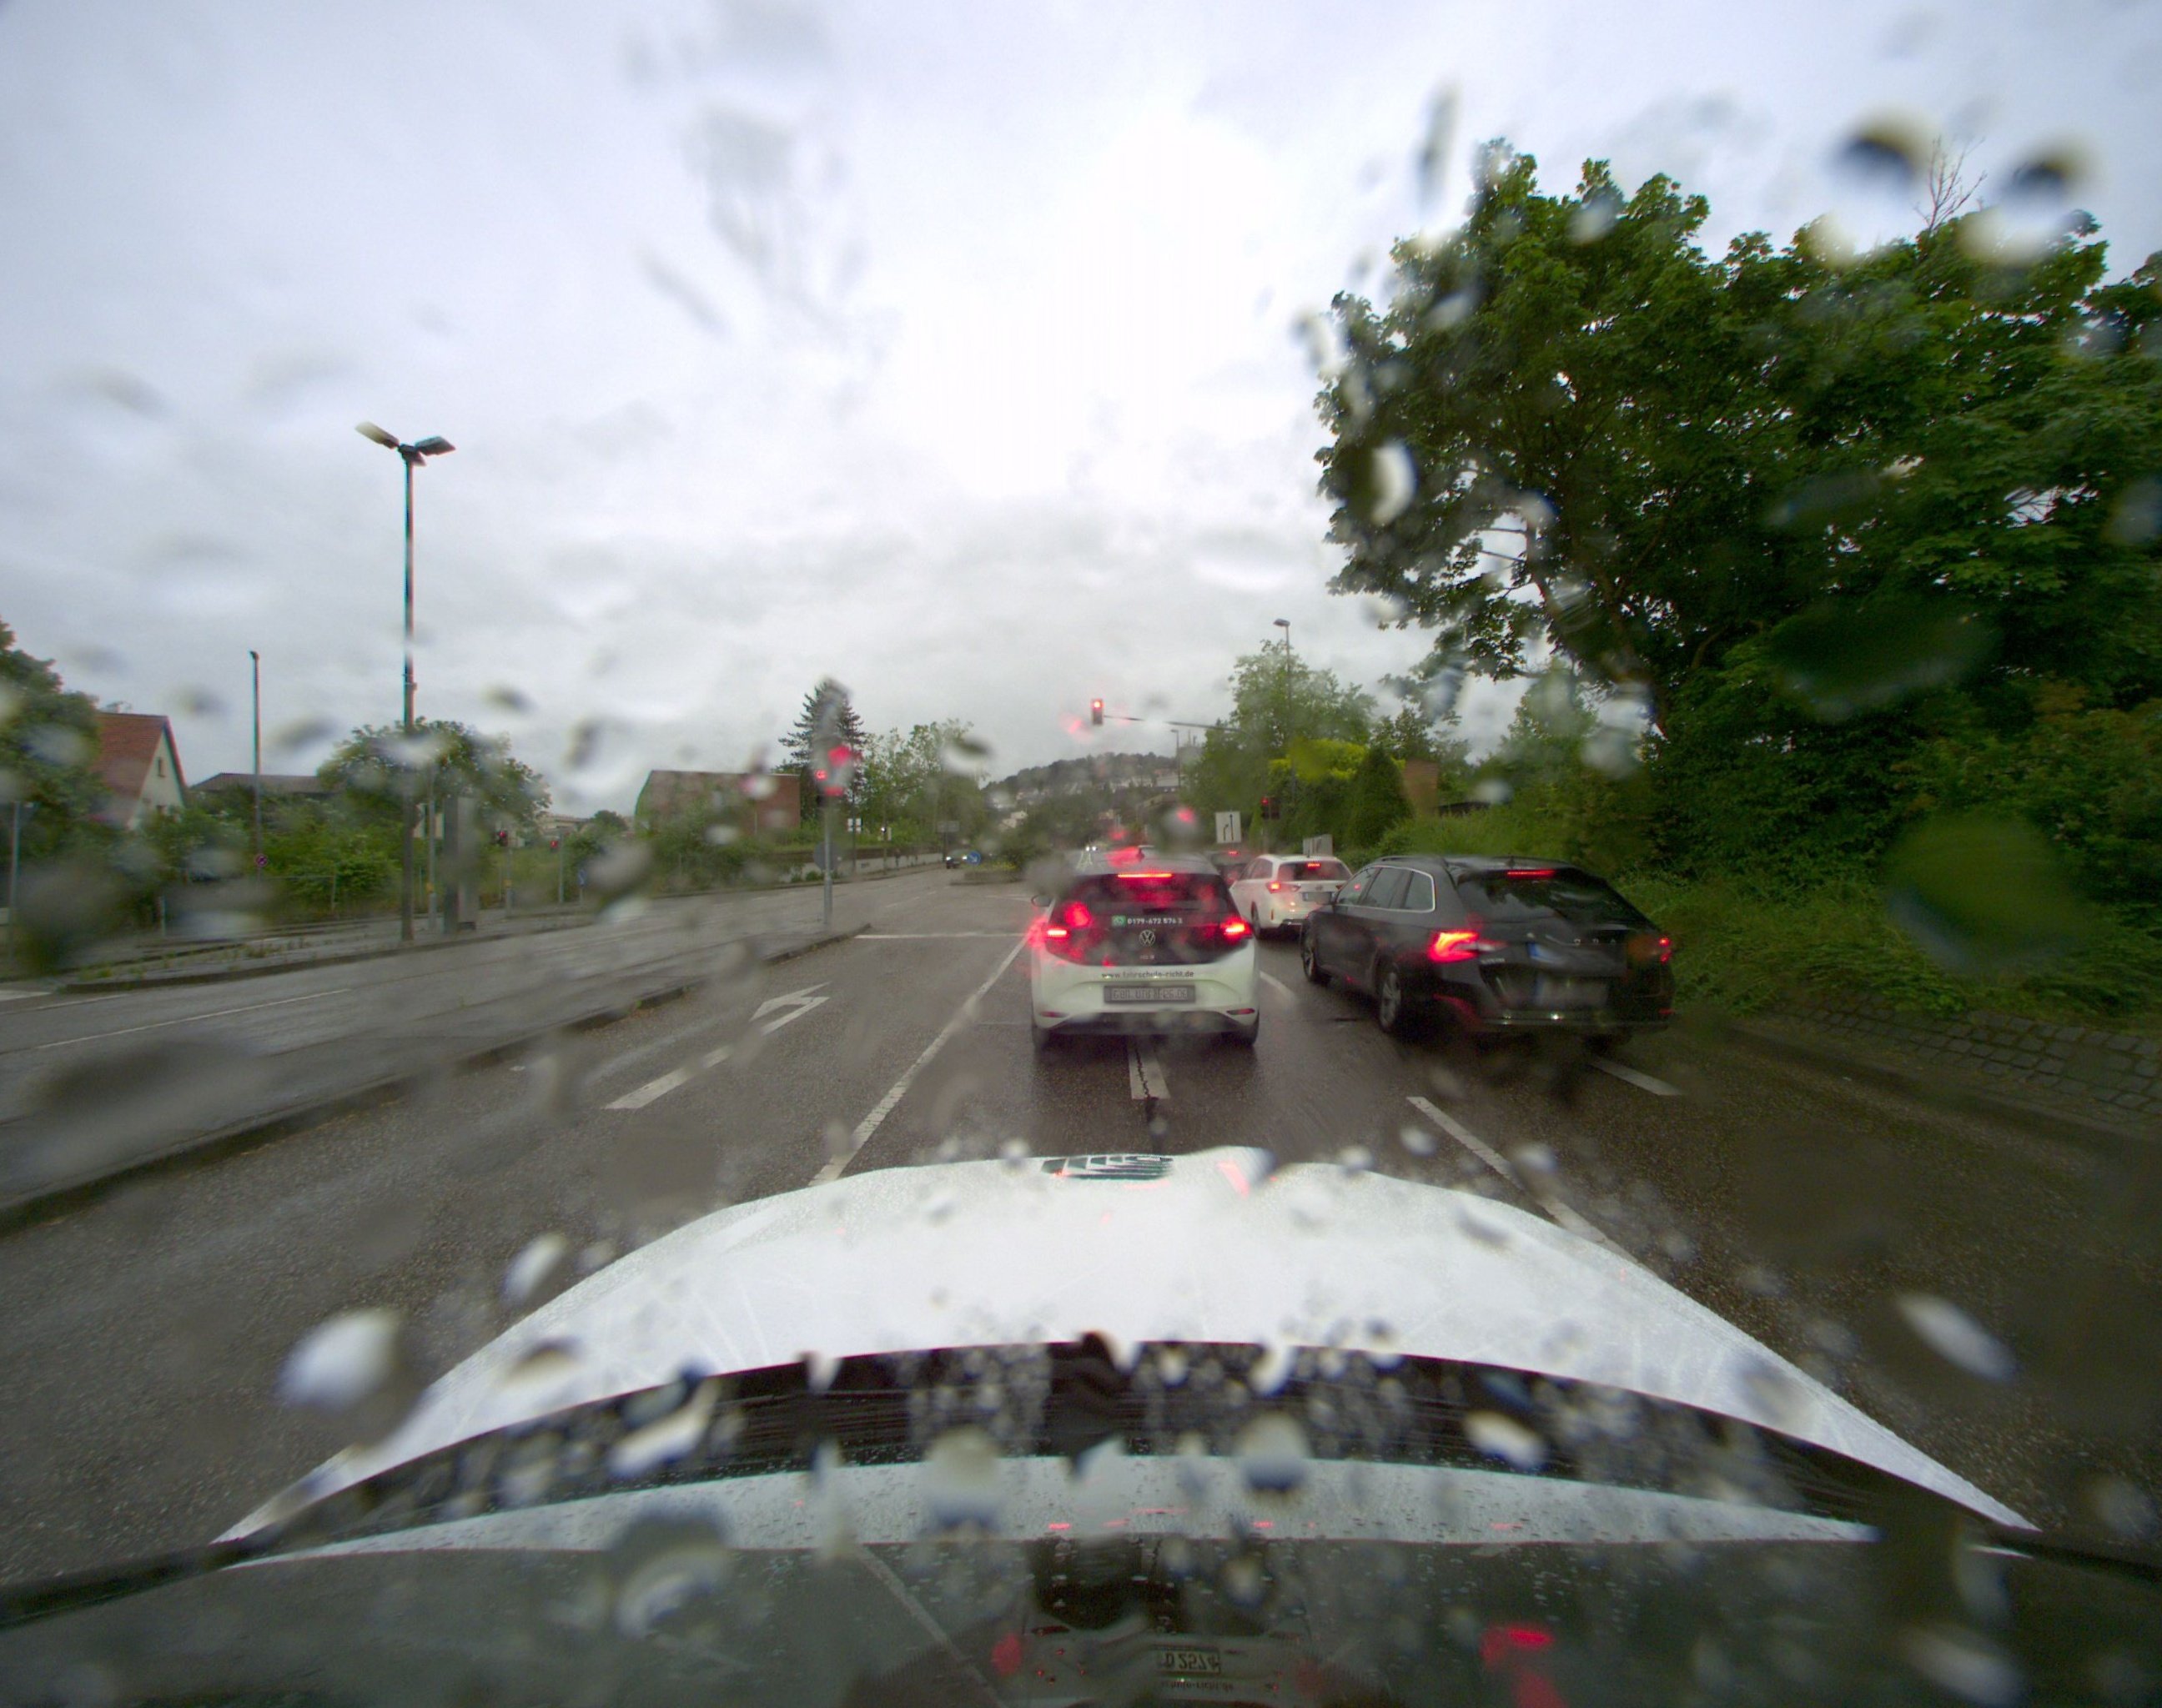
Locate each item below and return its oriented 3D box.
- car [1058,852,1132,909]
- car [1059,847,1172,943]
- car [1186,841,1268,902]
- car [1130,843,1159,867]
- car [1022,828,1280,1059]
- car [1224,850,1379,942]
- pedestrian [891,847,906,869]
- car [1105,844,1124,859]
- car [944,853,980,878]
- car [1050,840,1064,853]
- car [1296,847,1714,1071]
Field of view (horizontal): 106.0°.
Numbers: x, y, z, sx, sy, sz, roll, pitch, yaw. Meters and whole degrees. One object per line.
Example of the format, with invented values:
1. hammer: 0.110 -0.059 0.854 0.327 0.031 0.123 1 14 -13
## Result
1. car: 0.401 0.660 22.121 1.831 1.400 3.832 0 0 1
2. car: 0.605 0.653 15.324 1.831 1.555 4.176 0 0 1
3. car: 4.109 0.473 23.426 1.769 1.581 4.002 0 0 2
4. car: 4.139 0.069 53.496 1.575 1.467 4.000 -3 -1 1
5. car: 0.547 0.619 8.080 1.831 1.629 4.617 0 0 1
6. car: 3.863 0.655 15.003 1.831 1.466 4.118 0 0 1
7. pedestrian: -13.348 0.316 59.622 0.757 1.568 0.825 -4 0 1
8. car: 3.439 -0.274 83.607 1.755 1.418 3.748 -3 0 0
9. car: -9.443 0.919 64.840 1.986 1.804 4.002 -4 0 2
10. car: -4.126 -1.252 140.566 1.986 2.014 4.002 -1 -1 2
11. car: 3.369 0.675 7.556 1.830 1.466 4.353 0 0 3
